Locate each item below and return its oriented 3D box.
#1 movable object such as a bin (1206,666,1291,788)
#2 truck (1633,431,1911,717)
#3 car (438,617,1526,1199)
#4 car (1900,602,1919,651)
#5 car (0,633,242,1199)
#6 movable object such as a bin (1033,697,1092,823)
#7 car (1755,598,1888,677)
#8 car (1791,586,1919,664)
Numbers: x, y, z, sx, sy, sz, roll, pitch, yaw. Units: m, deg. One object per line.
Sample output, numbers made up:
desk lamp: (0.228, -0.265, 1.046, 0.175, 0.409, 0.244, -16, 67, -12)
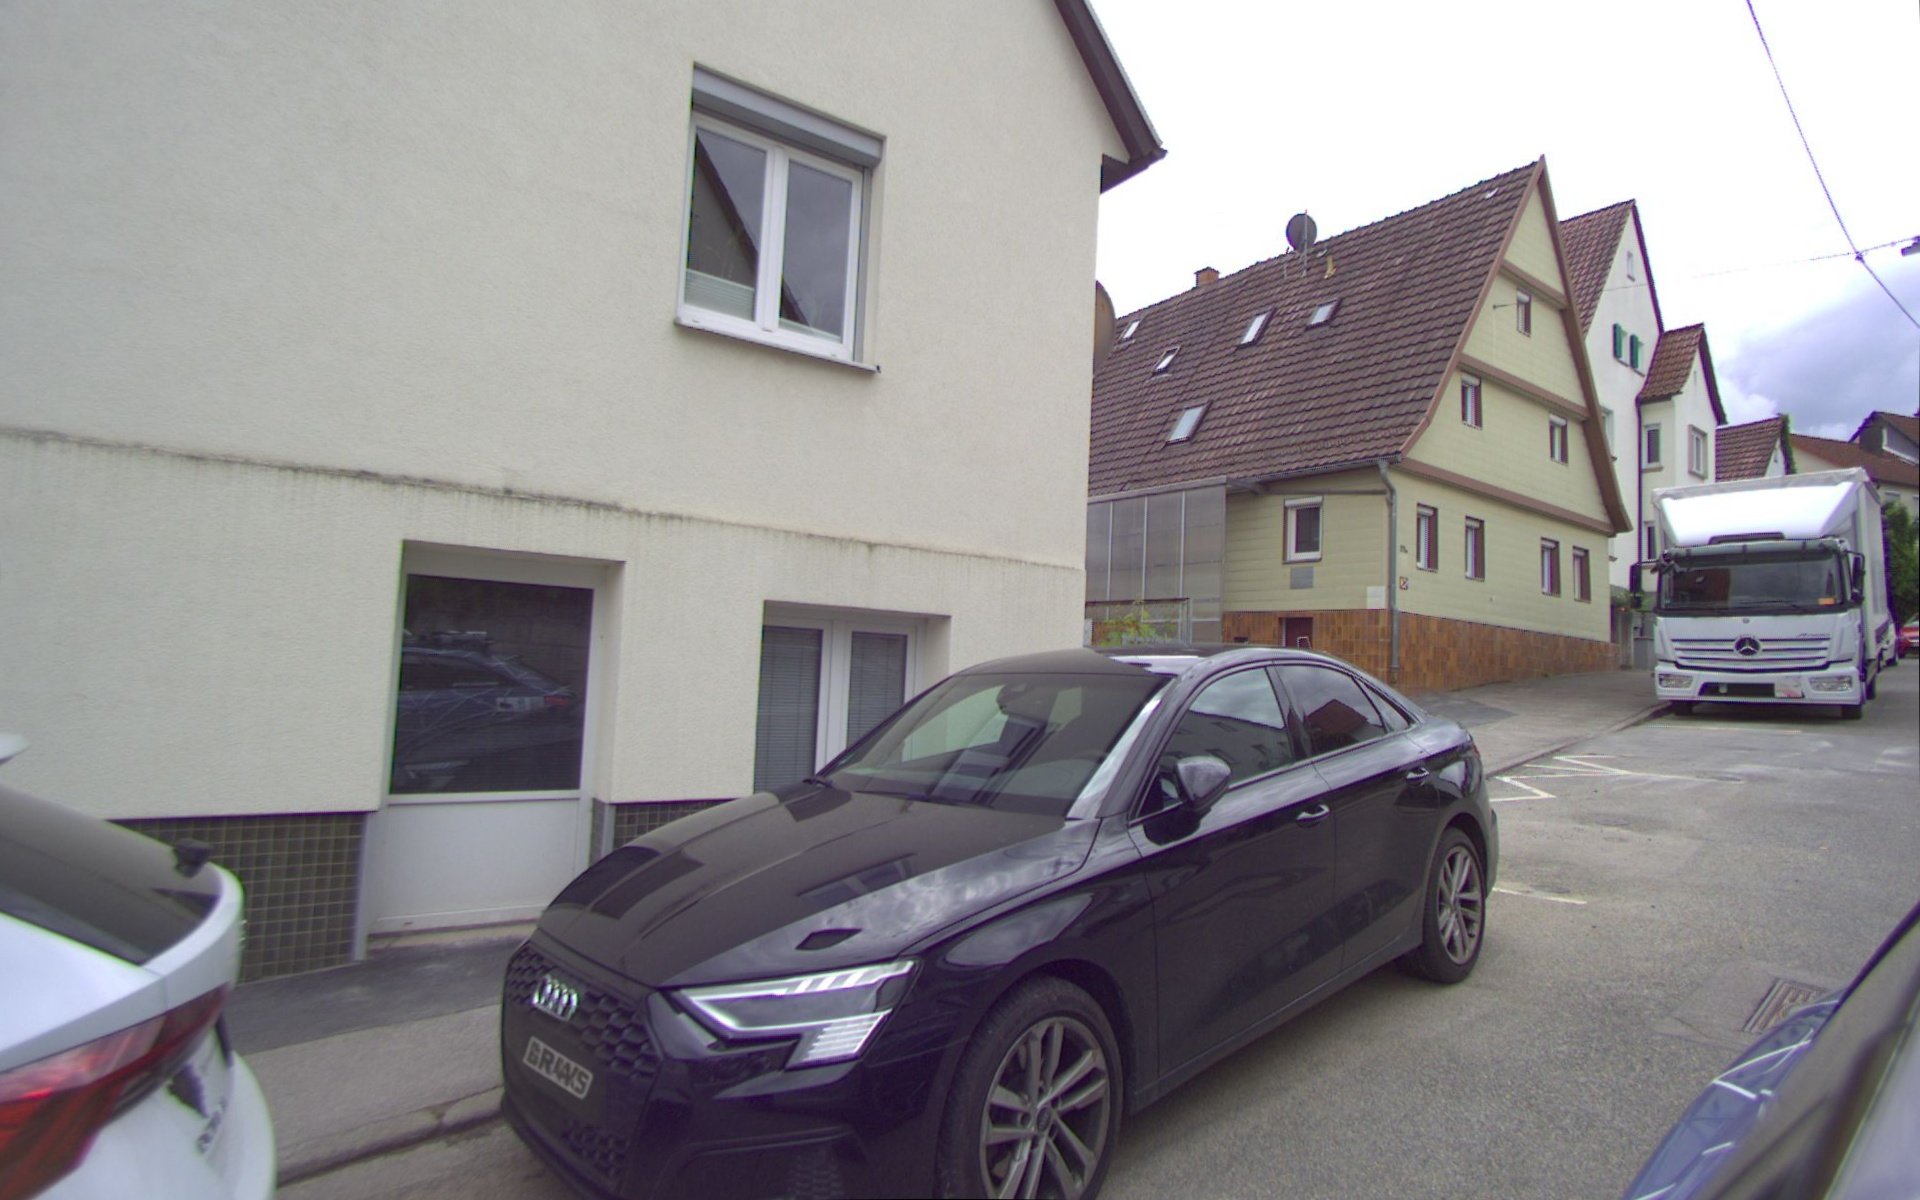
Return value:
movable object such as a bin: (2.446, 1.055, 8.577, 0.533, 0.928, 0.465, 0, 2, -43)
truck: (13.605, -0.254, 16.642, 2.675, 3.644, 7.975, -3, -3, 44)
car: (0.452, 0.840, 3.781, 3.982, 1.427, 1.675, 0, -3, -43)
car: (30.900, 0.755, 31.325, 3.777, 1.471, 1.684, 0, -3, -33)
car: (-3.082, 0.831, 0.594, 4.222, 1.464, 1.797, 0, -3, -40)
movable object such as a bin: (0.765, 1.181, 7.579, 0.427, 0.877, 0.451, 0, -2, 6)
car: (18.765, 0.775, 21.992, 3.984, 1.526, 1.733, -1, -3, -44)
car: (23.060, 0.641, 25.997, 4.228, 1.838, 1.838, 0, -3, -41)
